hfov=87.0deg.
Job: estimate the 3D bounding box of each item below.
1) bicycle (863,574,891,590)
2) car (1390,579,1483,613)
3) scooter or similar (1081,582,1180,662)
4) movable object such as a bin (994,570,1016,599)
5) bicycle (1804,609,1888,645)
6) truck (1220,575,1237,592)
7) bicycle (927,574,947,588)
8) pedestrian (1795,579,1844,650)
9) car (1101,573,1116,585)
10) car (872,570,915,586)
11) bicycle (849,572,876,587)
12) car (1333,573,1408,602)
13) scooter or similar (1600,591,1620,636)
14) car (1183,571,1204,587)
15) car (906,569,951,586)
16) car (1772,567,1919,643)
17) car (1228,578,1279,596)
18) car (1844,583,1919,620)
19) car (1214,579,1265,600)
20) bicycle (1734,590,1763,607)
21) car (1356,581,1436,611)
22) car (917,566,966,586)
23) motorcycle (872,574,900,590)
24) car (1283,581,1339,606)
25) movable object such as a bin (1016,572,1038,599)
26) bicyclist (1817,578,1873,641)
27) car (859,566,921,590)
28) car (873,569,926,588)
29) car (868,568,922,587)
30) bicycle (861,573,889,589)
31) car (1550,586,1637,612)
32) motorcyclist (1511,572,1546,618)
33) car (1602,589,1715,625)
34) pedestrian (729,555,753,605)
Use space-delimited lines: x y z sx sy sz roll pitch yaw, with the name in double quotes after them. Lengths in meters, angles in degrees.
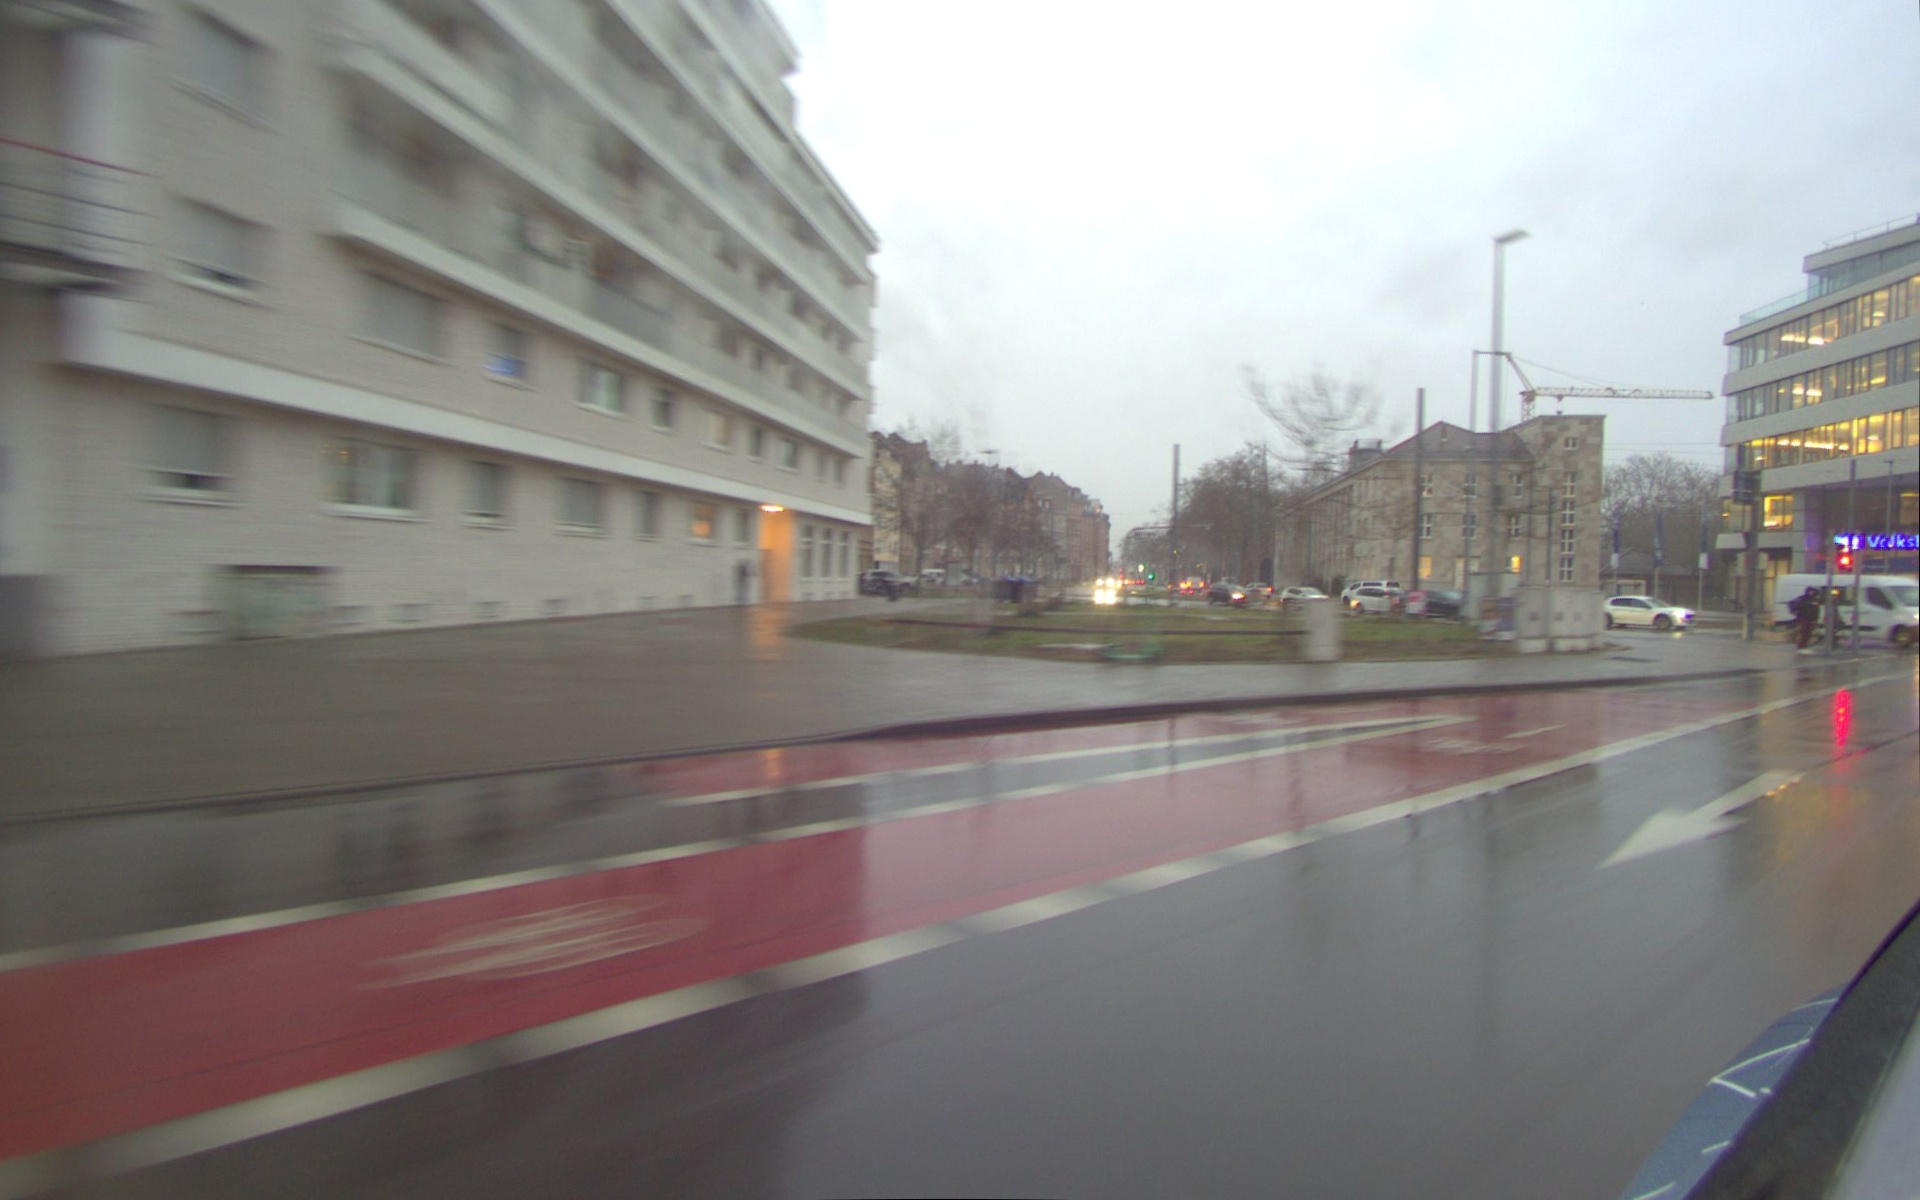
-5.433 -1.187 66.078 1.758 0.943 0.447 3 1 -14 "bicycle"
24.903 -0.226 52.964 1.865 1.619 4.010 0 2 -32 "car"
2.817 0.335 16.739 1.525 1.241 0.671 -1 3 -29 "scooter or similar"
2.589 -0.897 57.982 1.038 1.595 1.135 2 1 15 "movable object such as a bin"
27.531 0.824 31.480 0.643 0.985 1.871 1 1 -18 "bicycle"
34.269 -2.100 129.093 1.810 2.069 3.986 1 1 12 "truck"
-1.735 -1.422 76.540 0.532 1.031 1.888 4 1 29 "bicycle"
23.673 0.383 27.888 0.764 1.901 0.633 1 1 12 "pedestrian"
19.194 -2.719 130.900 1.725 1.387 3.603 2 1 11 "car"
-5.559 -1.831 84.392 3.231 1.322 1.525 1 1 -20 "car"
-6.673 -1.400 69.518 1.758 0.943 0.447 3 1 -14 "bicycle"
31.627 -1.027 78.171 1.912 2.084 5.673 1 2 -23 "car"
18.285 0.376 28.460 0.332 1.221 1.291 2 1 37 "scooter or similar"
29.775 -2.684 129.011 1.871 1.894 4.958 0 2 5 "car"
-2.804 -2.019 89.455 3.610 1.417 1.525 1 1 -20 "car"
32.282 0.106 35.556 2.196 2.493 5.682 0 2 -13 "car"
25.968 -1.154 89.682 1.828 1.504 4.349 1 2 -27 "car"
46.944 0.075 49.976 1.889 1.740 4.621 1 1 -19 "car"
20.008 -0.775 72.601 1.838 1.493 4.179 0 1 -11 "car"
54.384 -0.123 69.786 1.475 1.141 0.526 2 1 13 "bicycle"
25.554 -0.274 59.488 1.642 1.619 4.231 1 2 -25 "car"
-1.724 -2.265 95.298 4.254 1.790 1.785 1 1 -21 "car"
-4.995 -1.208 68.222 1.757 0.943 0.514 3 1 -20 "motorcycle"
22.717 -0.437 65.552 1.655 1.448 3.354 0 2 -21 "car"
3.831 -0.824 57.598 1.038 1.529 1.247 2 1 15 "movable object such as a bin"
27.584 0.293 31.556 0.776 1.914 0.991 1 1 -18 "bicyclist"
-4.978 -1.588 71.978 4.069 1.589 1.746 1 1 -21 "car"
-4.611 -1.656 77.000 3.611 1.322 1.672 1 1 -21 "car"
-4.784 -1.648 74.495 3.611 1.322 1.746 1 1 -21 "car"
-5.578 -1.263 66.598 1.758 0.943 0.447 3 1 -14 "bicycle"
39.232 -0.086 62.814 1.595 1.462 4.433 1 2 -22 "car"
23.629 -0.221 42.061 0.870 1.905 0.922 1 1 1 "motorcyclist"
32.123 0.281 46.654 1.728 1.481 3.923 -1 3 -29 "car"
-7.472 -0.680 34.499 0.707 1.652 0.634 1 1 -19 "pedestrian"
